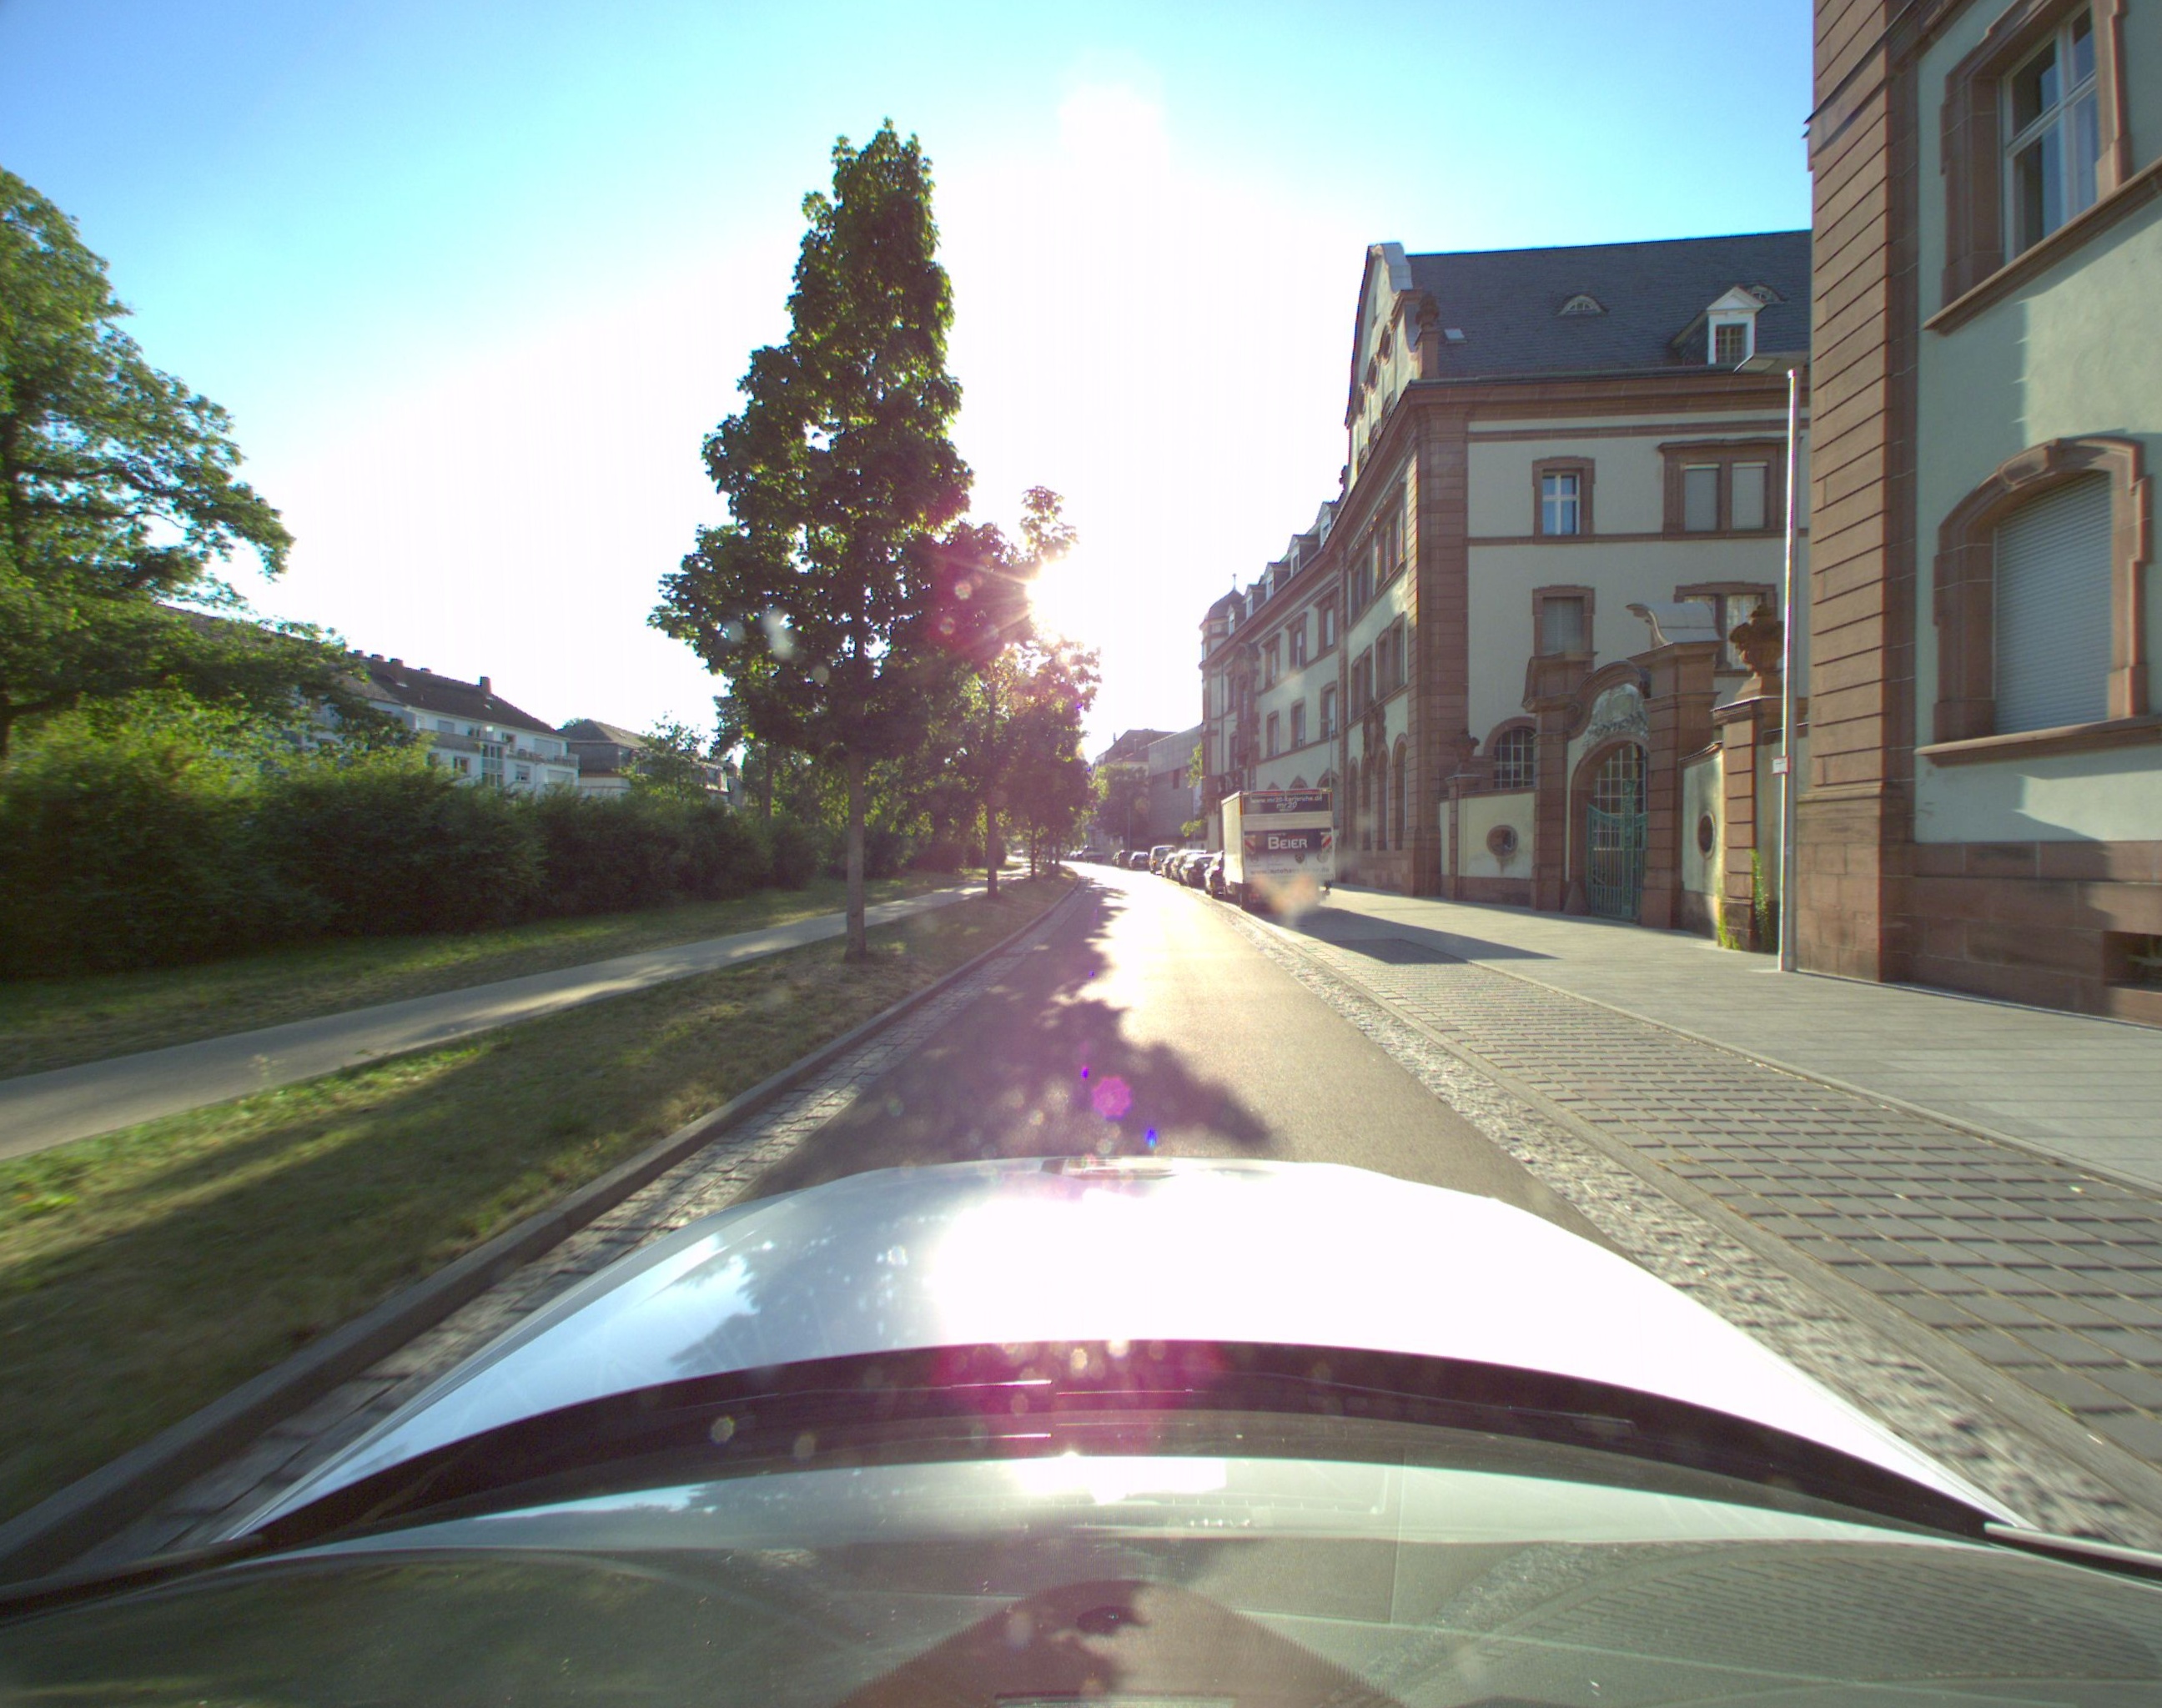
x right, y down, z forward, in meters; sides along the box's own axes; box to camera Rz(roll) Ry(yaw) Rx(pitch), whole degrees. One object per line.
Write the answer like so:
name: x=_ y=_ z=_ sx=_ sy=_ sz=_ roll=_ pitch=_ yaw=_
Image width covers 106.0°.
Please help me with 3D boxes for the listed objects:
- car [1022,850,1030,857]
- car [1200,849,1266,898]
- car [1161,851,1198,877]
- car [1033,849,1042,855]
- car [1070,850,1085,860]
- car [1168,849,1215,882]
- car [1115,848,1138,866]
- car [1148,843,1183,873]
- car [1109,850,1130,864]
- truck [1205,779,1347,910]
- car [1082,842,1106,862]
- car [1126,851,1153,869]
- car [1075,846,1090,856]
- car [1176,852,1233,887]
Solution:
car: x=-13.323 y=-0.201 z=198.219 sx=1.792 sy=1.724 sz=3.990 roll=0 pitch=0 yaw=-8
car: x=5.318 y=0.613 z=28.974 sx=1.760 sy=1.530 sz=4.577 roll=-2 pitch=0 yaw=4
car: x=5.799 y=0.573 z=48.454 sx=1.673 sy=1.403 sz=4.199 roll=-2 pitch=0 yaw=0
car: x=-9.862 y=-0.471 z=184.751 sx=1.791 sy=1.510 sz=3.993 roll=0 pitch=0 yaw=-5
car: x=-0.509 y=0.156 z=126.005 sx=1.690 sy=1.440 sz=4.091 roll=-1 pitch=1 yaw=-9
car: x=5.796 y=0.547 z=43.139 sx=1.811 sy=1.602 sz=4.190 roll=-2 pitch=0 yaw=-2
car: x=4.532 y=0.316 z=81.360 sx=1.722 sy=1.669 sz=4.106 roll=-2 pitch=1 yaw=-5
car: x=6.054 y=0.266 z=59.101 sx=1.987 sy=1.966 sz=4.850 roll=-4 pitch=0 yaw=1
car: x=4.114 y=0.324 z=87.728 sx=1.721 sy=1.421 sz=3.901 roll=-2 pitch=1 yaw=-4
truck: x=5.250 y=-0.251 z=23.044 sx=2.614 sy=3.120 sz=6.090 roll=-3 pitch=0 yaw=2
car: x=1.734 y=-0.272 z=110.307 sx=2.210 sy=2.529 sz=6.131 roll=-3 pitch=1 yaw=-8
car: x=5.057 y=0.490 z=70.984 sx=1.744 sy=1.466 sz=4.471 roll=0 pitch=0 yaw=-4
car: x=0.178 y=-0.467 z=121.423 sx=1.690 sy=1.440 sz=3.539 roll=-1 pitch=1 yaw=-9
car: x=5.649 y=0.663 z=37.642 sx=1.866 sy=1.436 sz=4.521 roll=-2 pitch=0 yaw=-1
